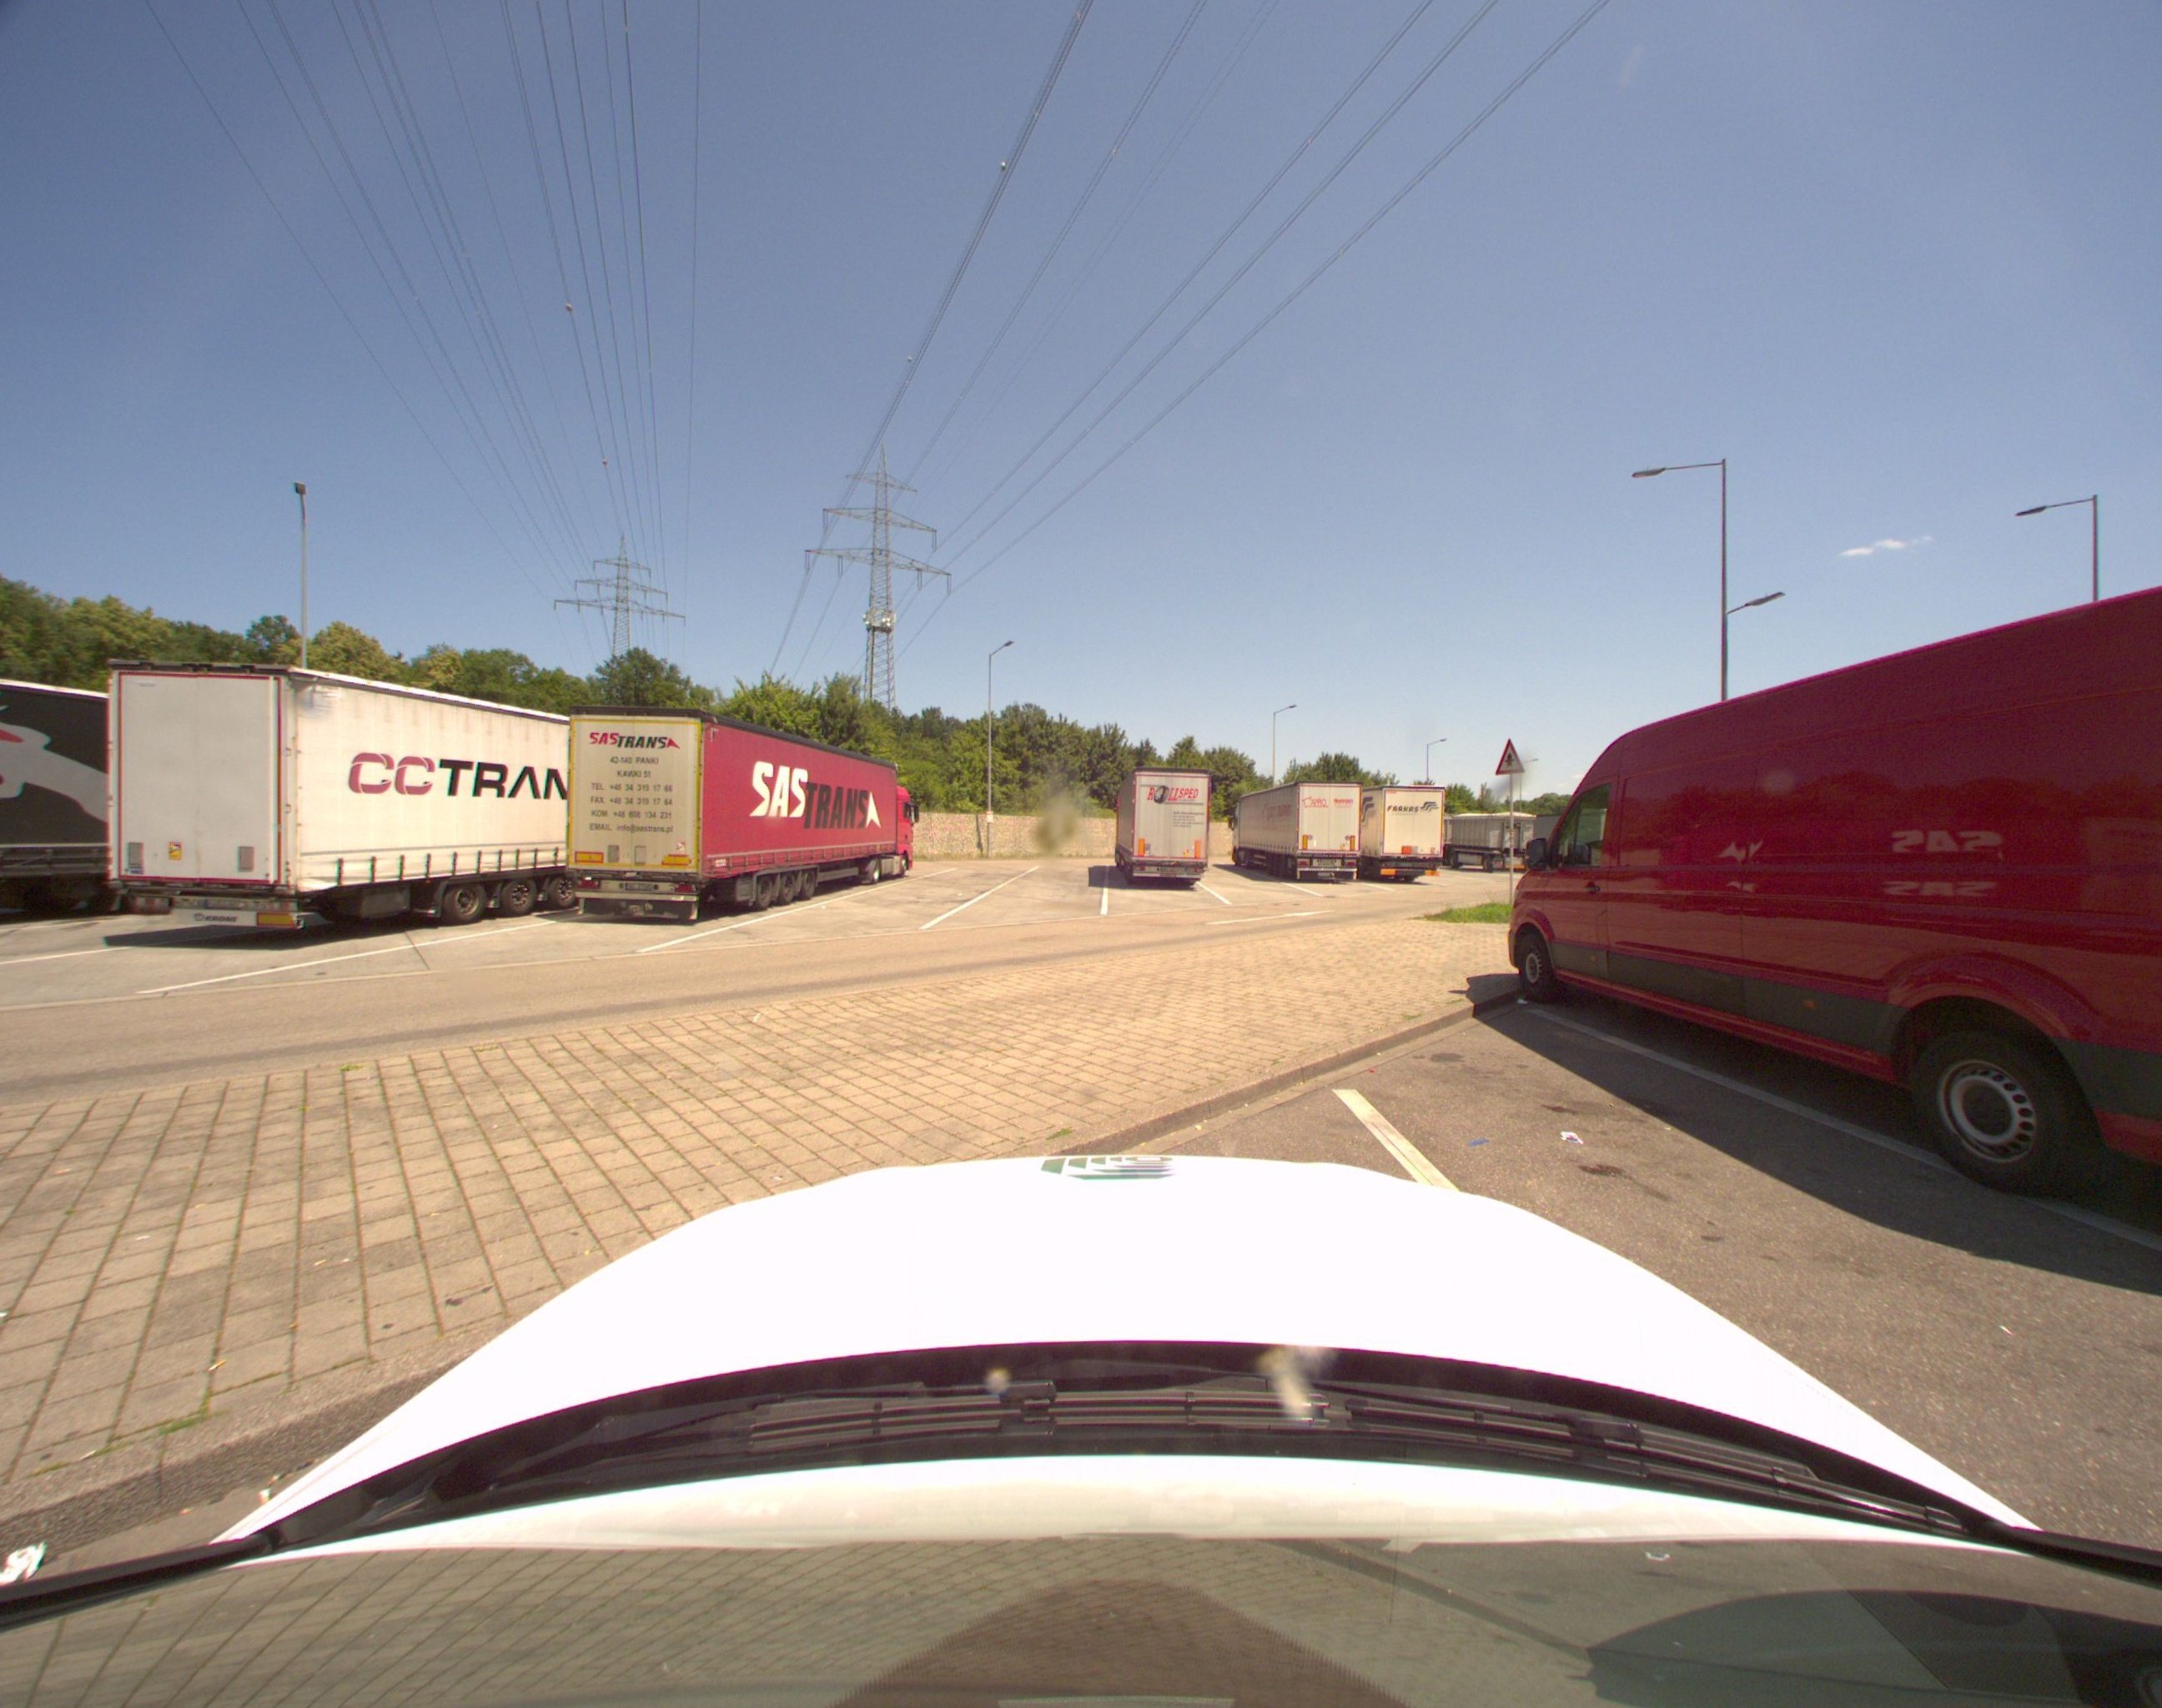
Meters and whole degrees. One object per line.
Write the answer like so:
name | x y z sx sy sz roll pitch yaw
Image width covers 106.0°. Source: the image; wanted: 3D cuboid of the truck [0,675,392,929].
truck | -18.550 -0.937 15.821 2.696 4.070 8.694 1 2 2

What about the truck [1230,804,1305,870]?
truck | 10.178 -0.981 45.055 2.855 3.362 5.977 1 2 2

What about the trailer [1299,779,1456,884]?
trailer | 13.608 -1.098 39.216 2.847 4.109 13.770 1 2 2

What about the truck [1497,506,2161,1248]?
truck | 5.142 0.079 5.444 2.001 2.651 6.466 -1 0 6

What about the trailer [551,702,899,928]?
trailer | -8.047 -0.928 21.718 2.811 4.070 13.770 1 2 2

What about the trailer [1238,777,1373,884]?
trailer | 9.980 -1.123 38.291 2.847 4.109 13.770 1 2 2

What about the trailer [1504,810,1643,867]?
trailer | 38.220 -1.303 64.172 2.847 3.904 13.770 1 2 2

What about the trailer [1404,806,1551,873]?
trailer | 24.440 -0.999 51.490 2.847 3.599 13.770 1 2 2

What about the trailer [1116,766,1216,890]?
trailer | 3.048 -1.051 33.201 2.848 3.971 13.767 1 2 1

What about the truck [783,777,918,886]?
truck | -7.833 -0.795 28.535 2.801 3.362 5.977 1 2 2

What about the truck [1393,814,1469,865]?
truck | 24.626 -1.088 57.587 2.855 3.362 5.977 1 2 2

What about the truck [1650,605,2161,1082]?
truck | 8.001 -0.072 6.877 2.406 2.906 6.466 -1 0 6

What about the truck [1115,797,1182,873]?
truck | 3.139 -0.942 39.403 2.855 3.362 5.977 1 2 2

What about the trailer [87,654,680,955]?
trailer | -12.161 -0.841 16.414 2.696 4.101 10.395 1 2 2
